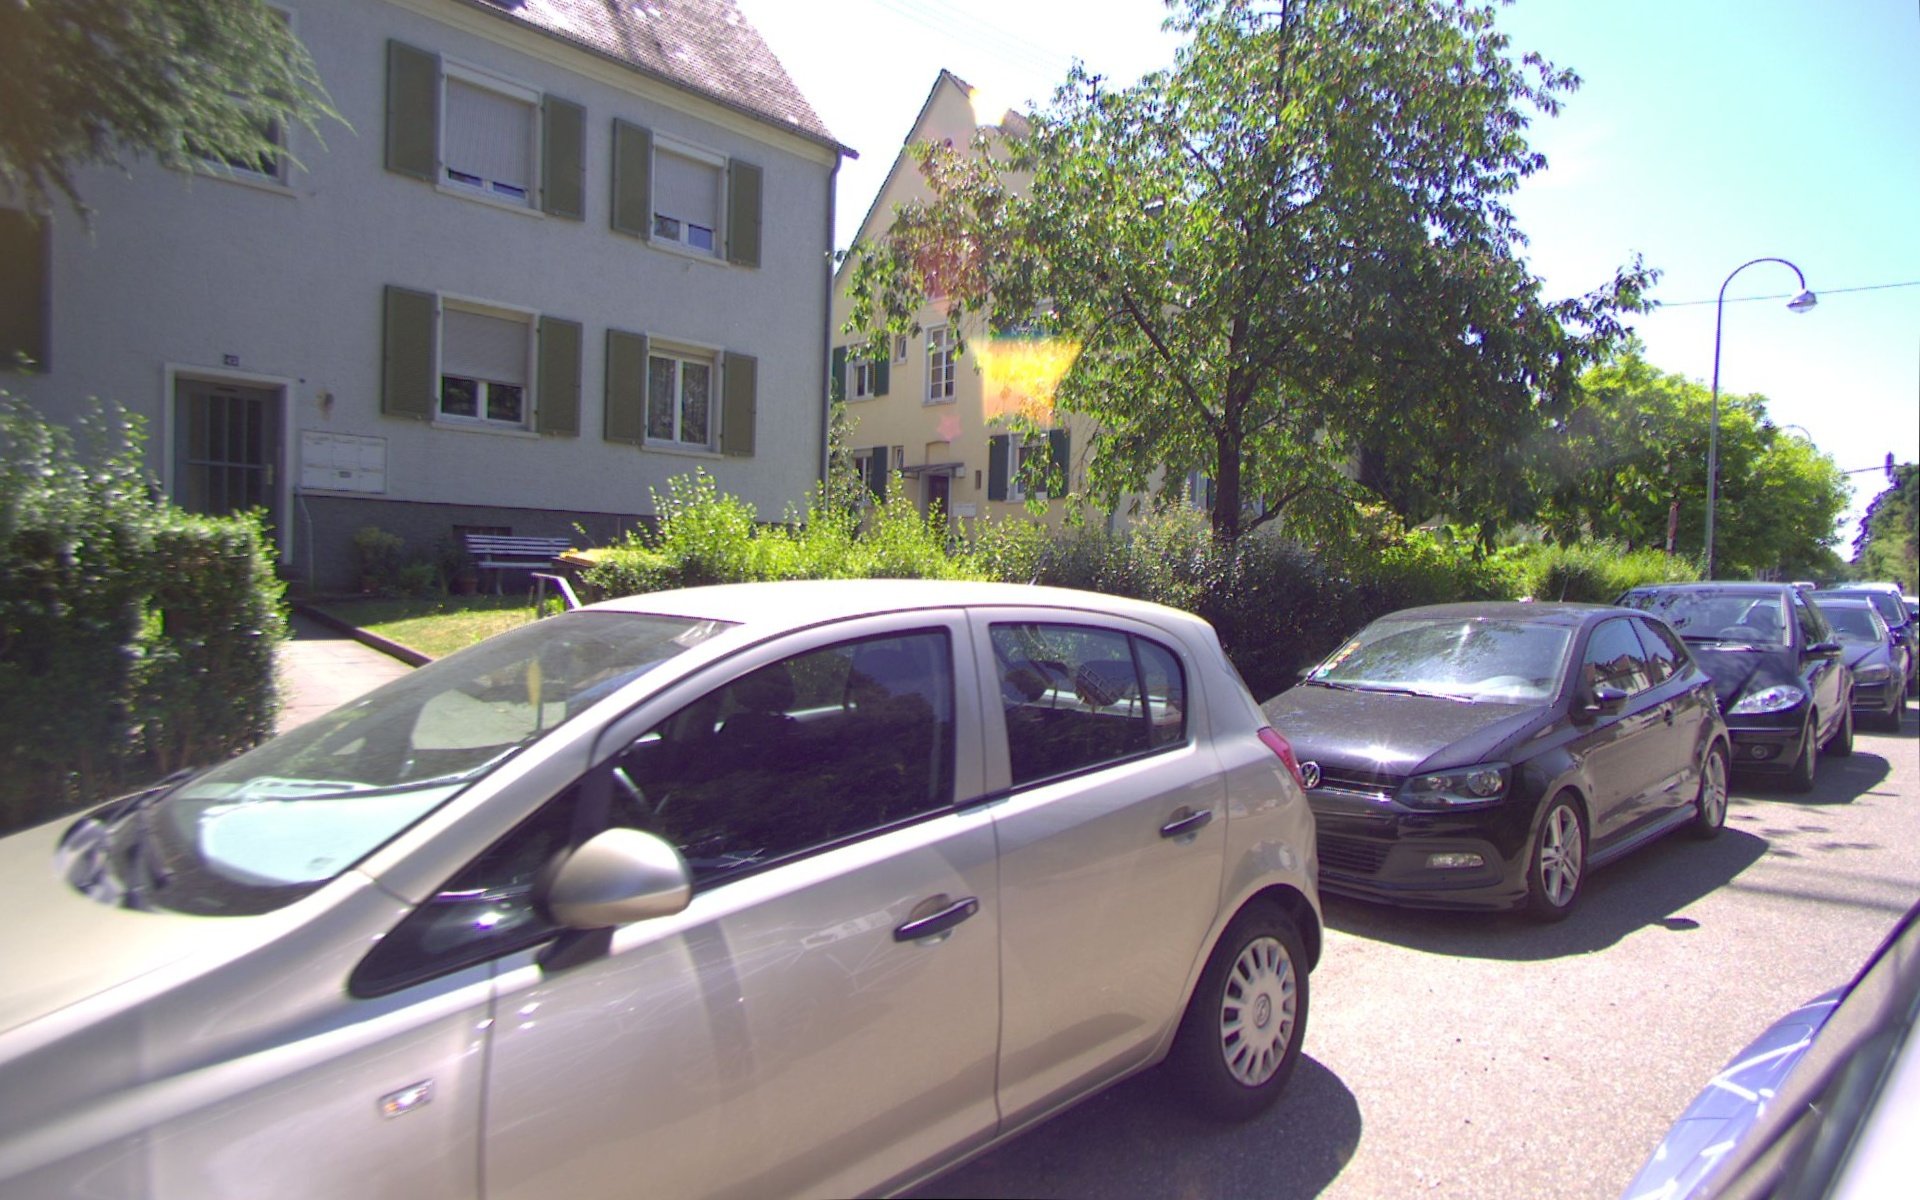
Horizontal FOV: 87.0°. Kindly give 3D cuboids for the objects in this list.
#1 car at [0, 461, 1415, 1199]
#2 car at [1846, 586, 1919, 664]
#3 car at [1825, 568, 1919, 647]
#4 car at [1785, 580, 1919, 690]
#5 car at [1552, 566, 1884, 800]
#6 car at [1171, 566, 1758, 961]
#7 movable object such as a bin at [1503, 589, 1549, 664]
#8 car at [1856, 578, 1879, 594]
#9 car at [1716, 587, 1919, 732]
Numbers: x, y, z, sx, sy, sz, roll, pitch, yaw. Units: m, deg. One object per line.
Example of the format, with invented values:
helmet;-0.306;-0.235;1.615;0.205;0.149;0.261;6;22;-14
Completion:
car;-0.535;0.609;2.609;3.994;1.532;1.617;-1;0;-42
car;19.207;0.449;20.491;1.662;1.453;4.062;0;1;45
car;23.028;0.154;25.546;1.661;1.826;4.138;0;0;43
car;14.744;0.482;16.366;4.133;1.558;1.663;0;1;-44
car;6.788;0.566;8.906;3.939;1.595;1.584;1;1;-42
car;3.025;0.600;5.662;3.939;1.461;1.584;0;-1;-42
movable object such as a bin;9.558;0.437;17.094;0.481;1.185;0.427;9;5;38
car;99.458;-1.559;110.955;1.651;1.580;3.828;6;4;40
car;10.728;0.595;12.479;1.663;1.449;4.136;3;2;45
